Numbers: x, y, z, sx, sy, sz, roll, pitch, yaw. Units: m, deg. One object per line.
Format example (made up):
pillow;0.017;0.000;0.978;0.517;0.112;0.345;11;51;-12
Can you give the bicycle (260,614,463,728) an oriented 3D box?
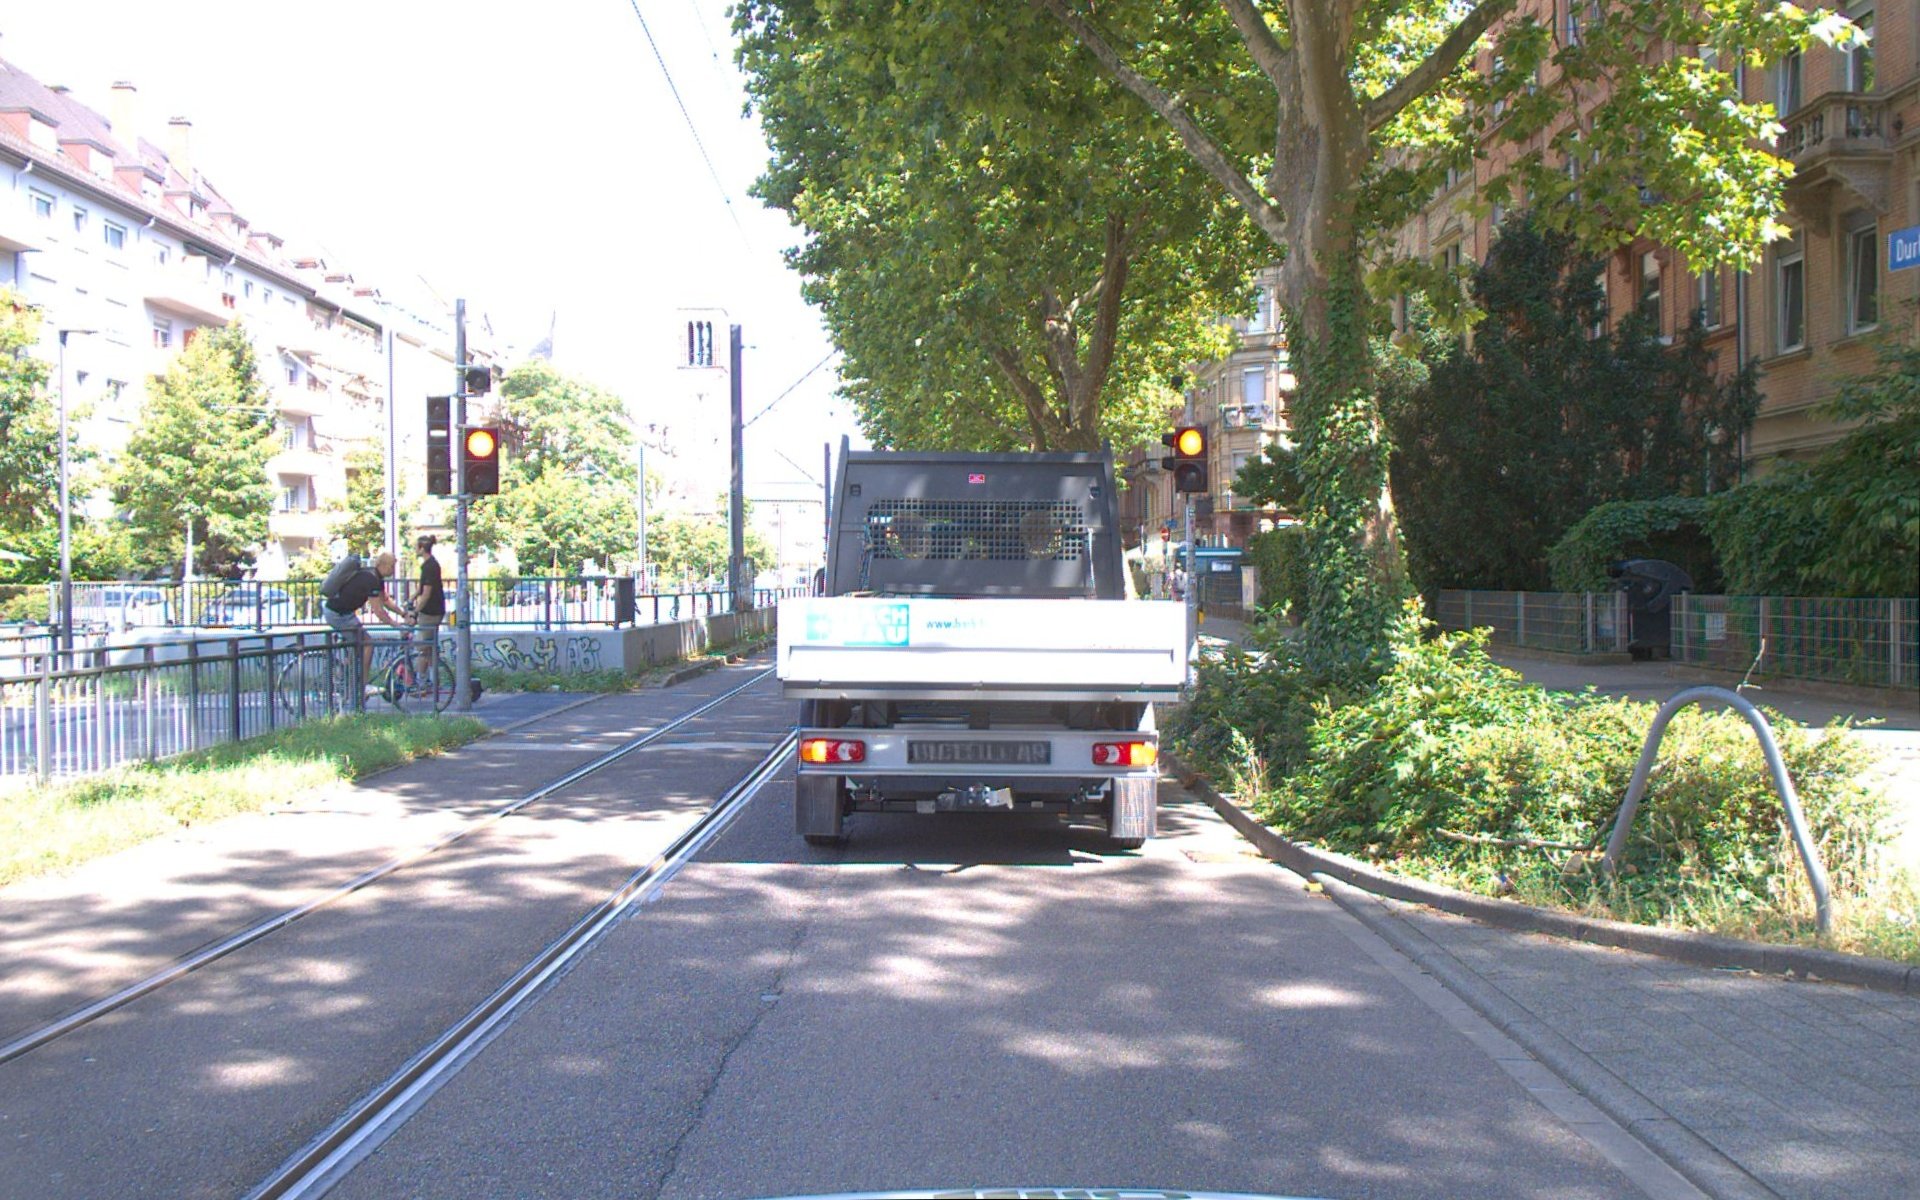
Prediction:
bicycle;-6.111;0.704;16.926;1.897;1.067;0.528;-1;1;-28

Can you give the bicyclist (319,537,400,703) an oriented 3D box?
bicyclist;-6.145;0.190;16.916;0.684;1.651;0.619;-1;0;-28

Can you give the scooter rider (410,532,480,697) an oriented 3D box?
scooter rider;-6.074;0.161;19.496;0.659;1.899;0.658;-1;0;-28

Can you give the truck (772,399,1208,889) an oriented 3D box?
truck;0.149;0.189;10.308;2.094;2.359;4.401;1;1;0

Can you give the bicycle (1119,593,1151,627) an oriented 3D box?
bicycle;4.881;0.281;46.210;0.661;0.897;2.163;-1;1;0

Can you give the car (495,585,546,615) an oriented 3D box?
car;-23.005;-0.034;86.714;1.735;1.524;3.998;-1;1;-2

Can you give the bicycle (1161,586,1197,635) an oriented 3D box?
bicycle;5.242;0.240;39.690;0.553;1.131;2.310;-1;1;0

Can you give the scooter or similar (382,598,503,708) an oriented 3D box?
scooter or similar;-6.097;0.605;19.482;1.252;1.225;0.651;-1;1;-29

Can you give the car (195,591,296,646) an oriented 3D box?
car;-22.184;0.544;51.514;1.737;1.524;3.995;-2;1;-6

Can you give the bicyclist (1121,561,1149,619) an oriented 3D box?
bicyclist;4.871;-0.278;46.052;0.666;1.590;0.777;-1;0;0

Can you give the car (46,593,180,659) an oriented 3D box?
car;-22.018;0.636;43.147;1.737;1.524;3.995;-2;1;-6

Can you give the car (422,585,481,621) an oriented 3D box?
car;-22.522;0.113;73.358;1.737;1.524;3.995;-1;1;-7

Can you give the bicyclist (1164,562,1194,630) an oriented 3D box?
bicyclist;5.239;-0.105;39.581;0.625;1.601;0.579;-1;0;0
